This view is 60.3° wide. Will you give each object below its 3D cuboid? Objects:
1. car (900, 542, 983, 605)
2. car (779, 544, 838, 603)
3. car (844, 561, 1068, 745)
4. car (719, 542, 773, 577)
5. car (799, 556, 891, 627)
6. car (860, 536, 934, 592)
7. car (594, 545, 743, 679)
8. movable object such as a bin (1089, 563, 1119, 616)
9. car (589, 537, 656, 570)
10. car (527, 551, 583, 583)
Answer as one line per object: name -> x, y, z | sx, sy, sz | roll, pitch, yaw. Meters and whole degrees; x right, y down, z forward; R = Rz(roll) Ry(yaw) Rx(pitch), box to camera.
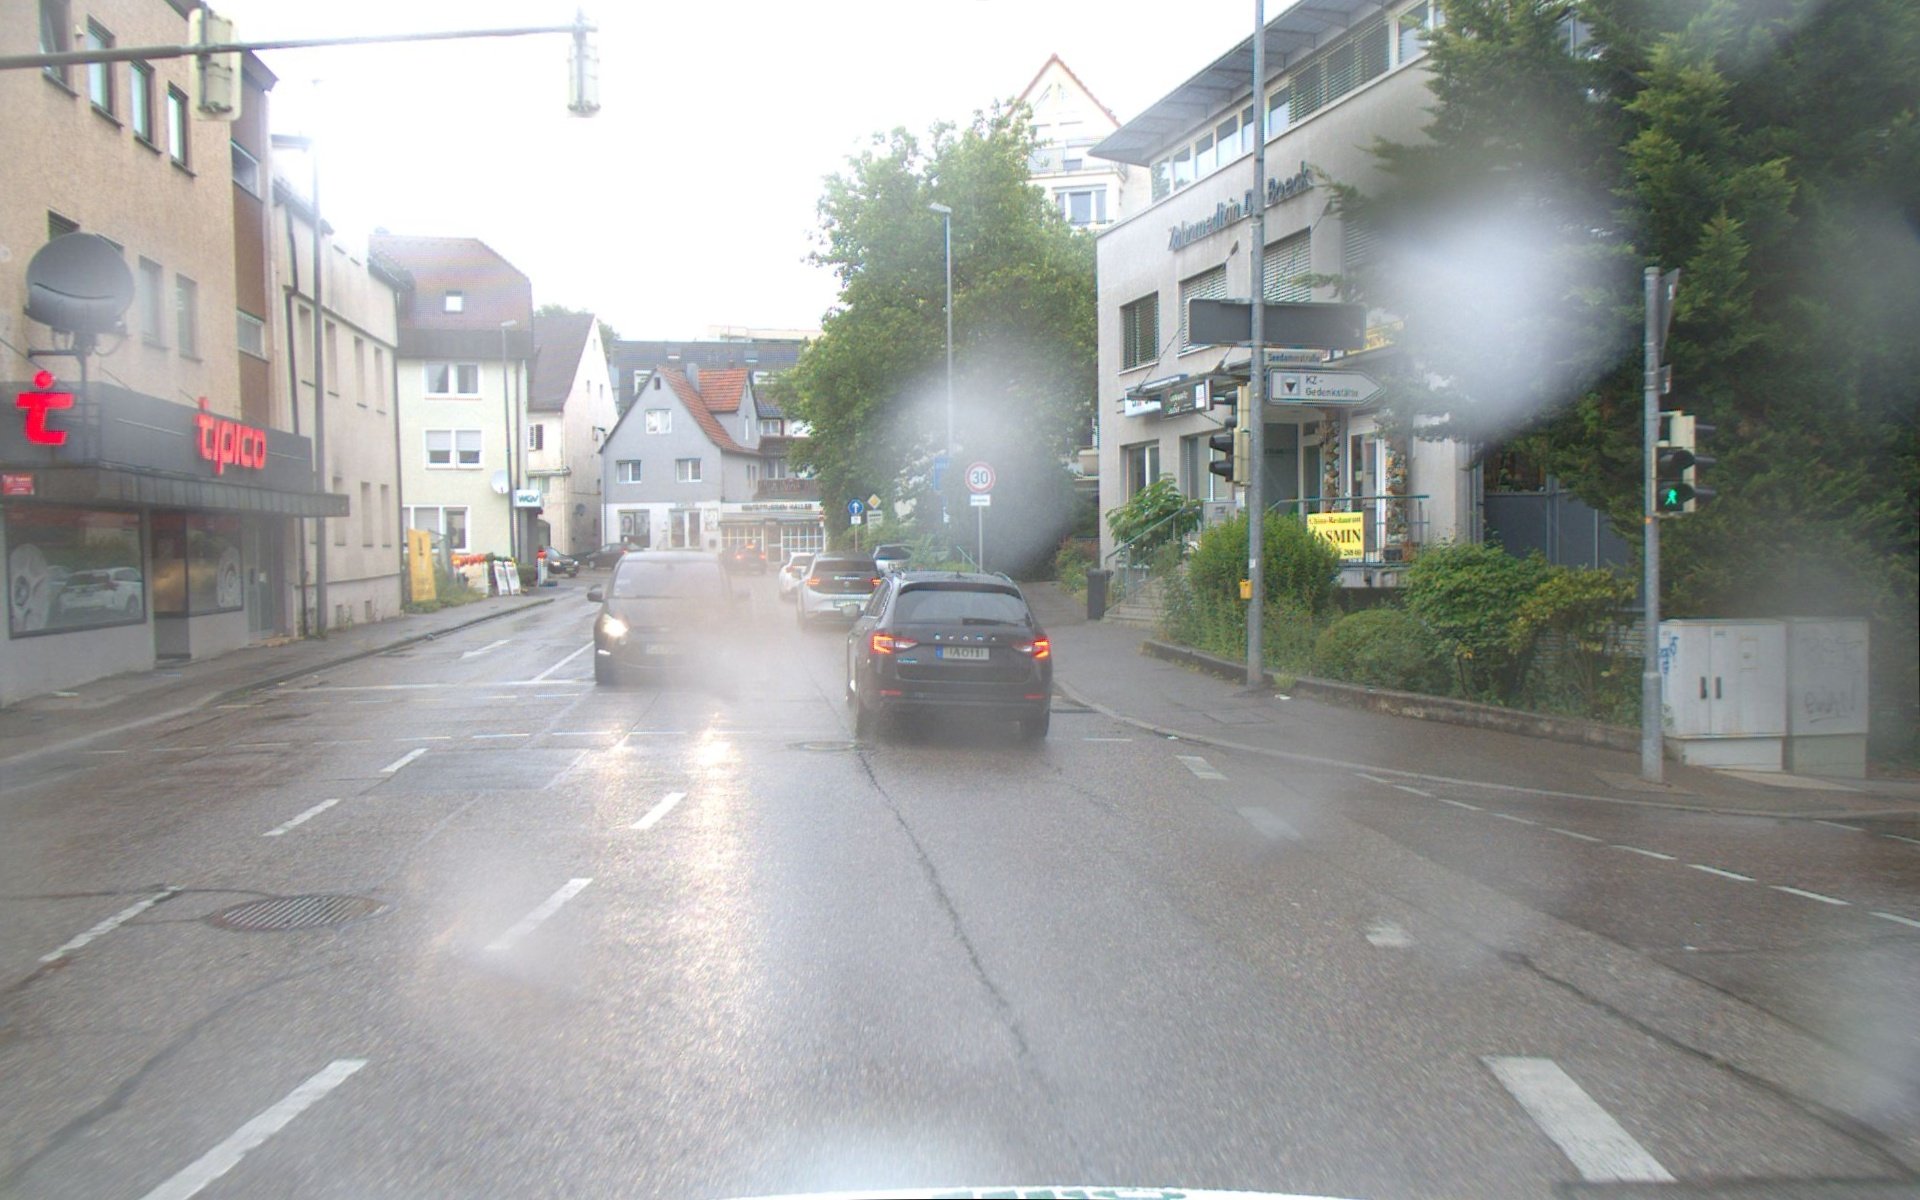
car -> -0.567, -0.776, 47.494 | 1.819, 1.669, 3.530 | -2, 2, -10
car -> -4.646, -0.771, 50.588 | 1.694, 1.618, 4.178 | 0, -2, -6
car -> -0.177, 0.411, 16.186 | 1.747, 1.509, 4.241 | 2, 1, -6
car -> -10.707, -2.001, 82.492 | 1.865, 1.618, 3.666 | -2, 1, -20
car -> -2.461, -0.213, 34.541 | 1.783, 1.383, 3.985 | -1, 1, -6
car -> -2.068, -1.156, 53.261 | 1.818, 1.669, 3.862 | -2, 2, -10
car -> -3.781, 0.079, 21.919 | 1.751, 1.590, 4.394 | 0, 2, -8
movable object such as a bin -> 2.798, -0.207, 32.100 | 0.500, 0.961, 0.603 | 3, 5, 10
car -> -18.852, -2.575, 92.439 | 3.622, 1.711, 1.888 | -1, 1, 42
car -> -21.131, -1.707, 86.268 | 1.643, 1.598, 3.955 | -1, 1, -32
